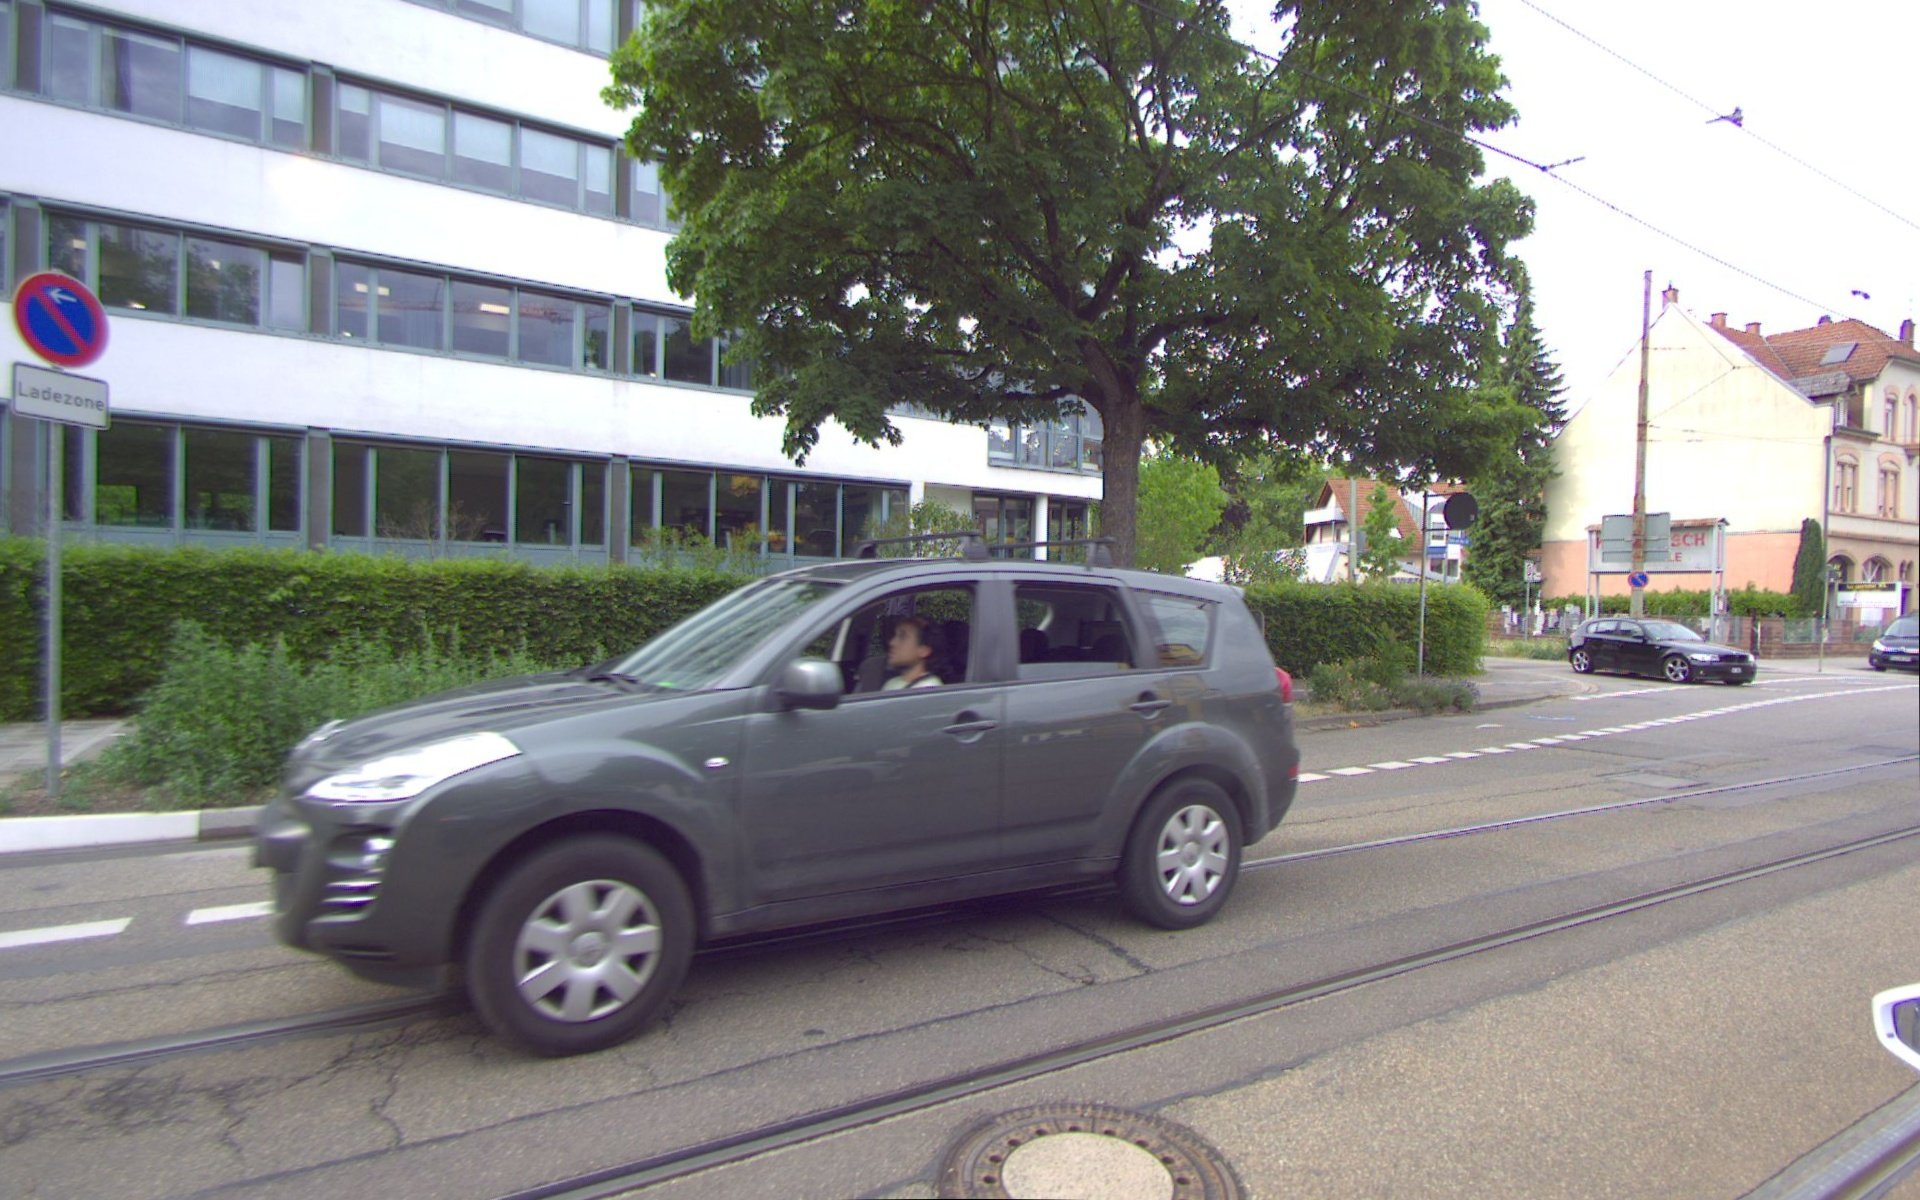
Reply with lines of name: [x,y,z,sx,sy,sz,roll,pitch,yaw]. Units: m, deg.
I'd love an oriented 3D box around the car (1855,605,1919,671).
car: [30.569,1.211,31.583,4.935,1.912,1.984,2,1,-28]

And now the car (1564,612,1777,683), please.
car: [16.260,1.041,23.256,1.769,1.406,3.926,1,0,-9]

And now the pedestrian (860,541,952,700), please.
pedestrian: [-0.732,0.271,13.437,0.977,2.041,0.708,2,1,-24]

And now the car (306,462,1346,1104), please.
car: [-0.394,0.554,4.652,4.285,1.760,1.818,2,0,-31]
